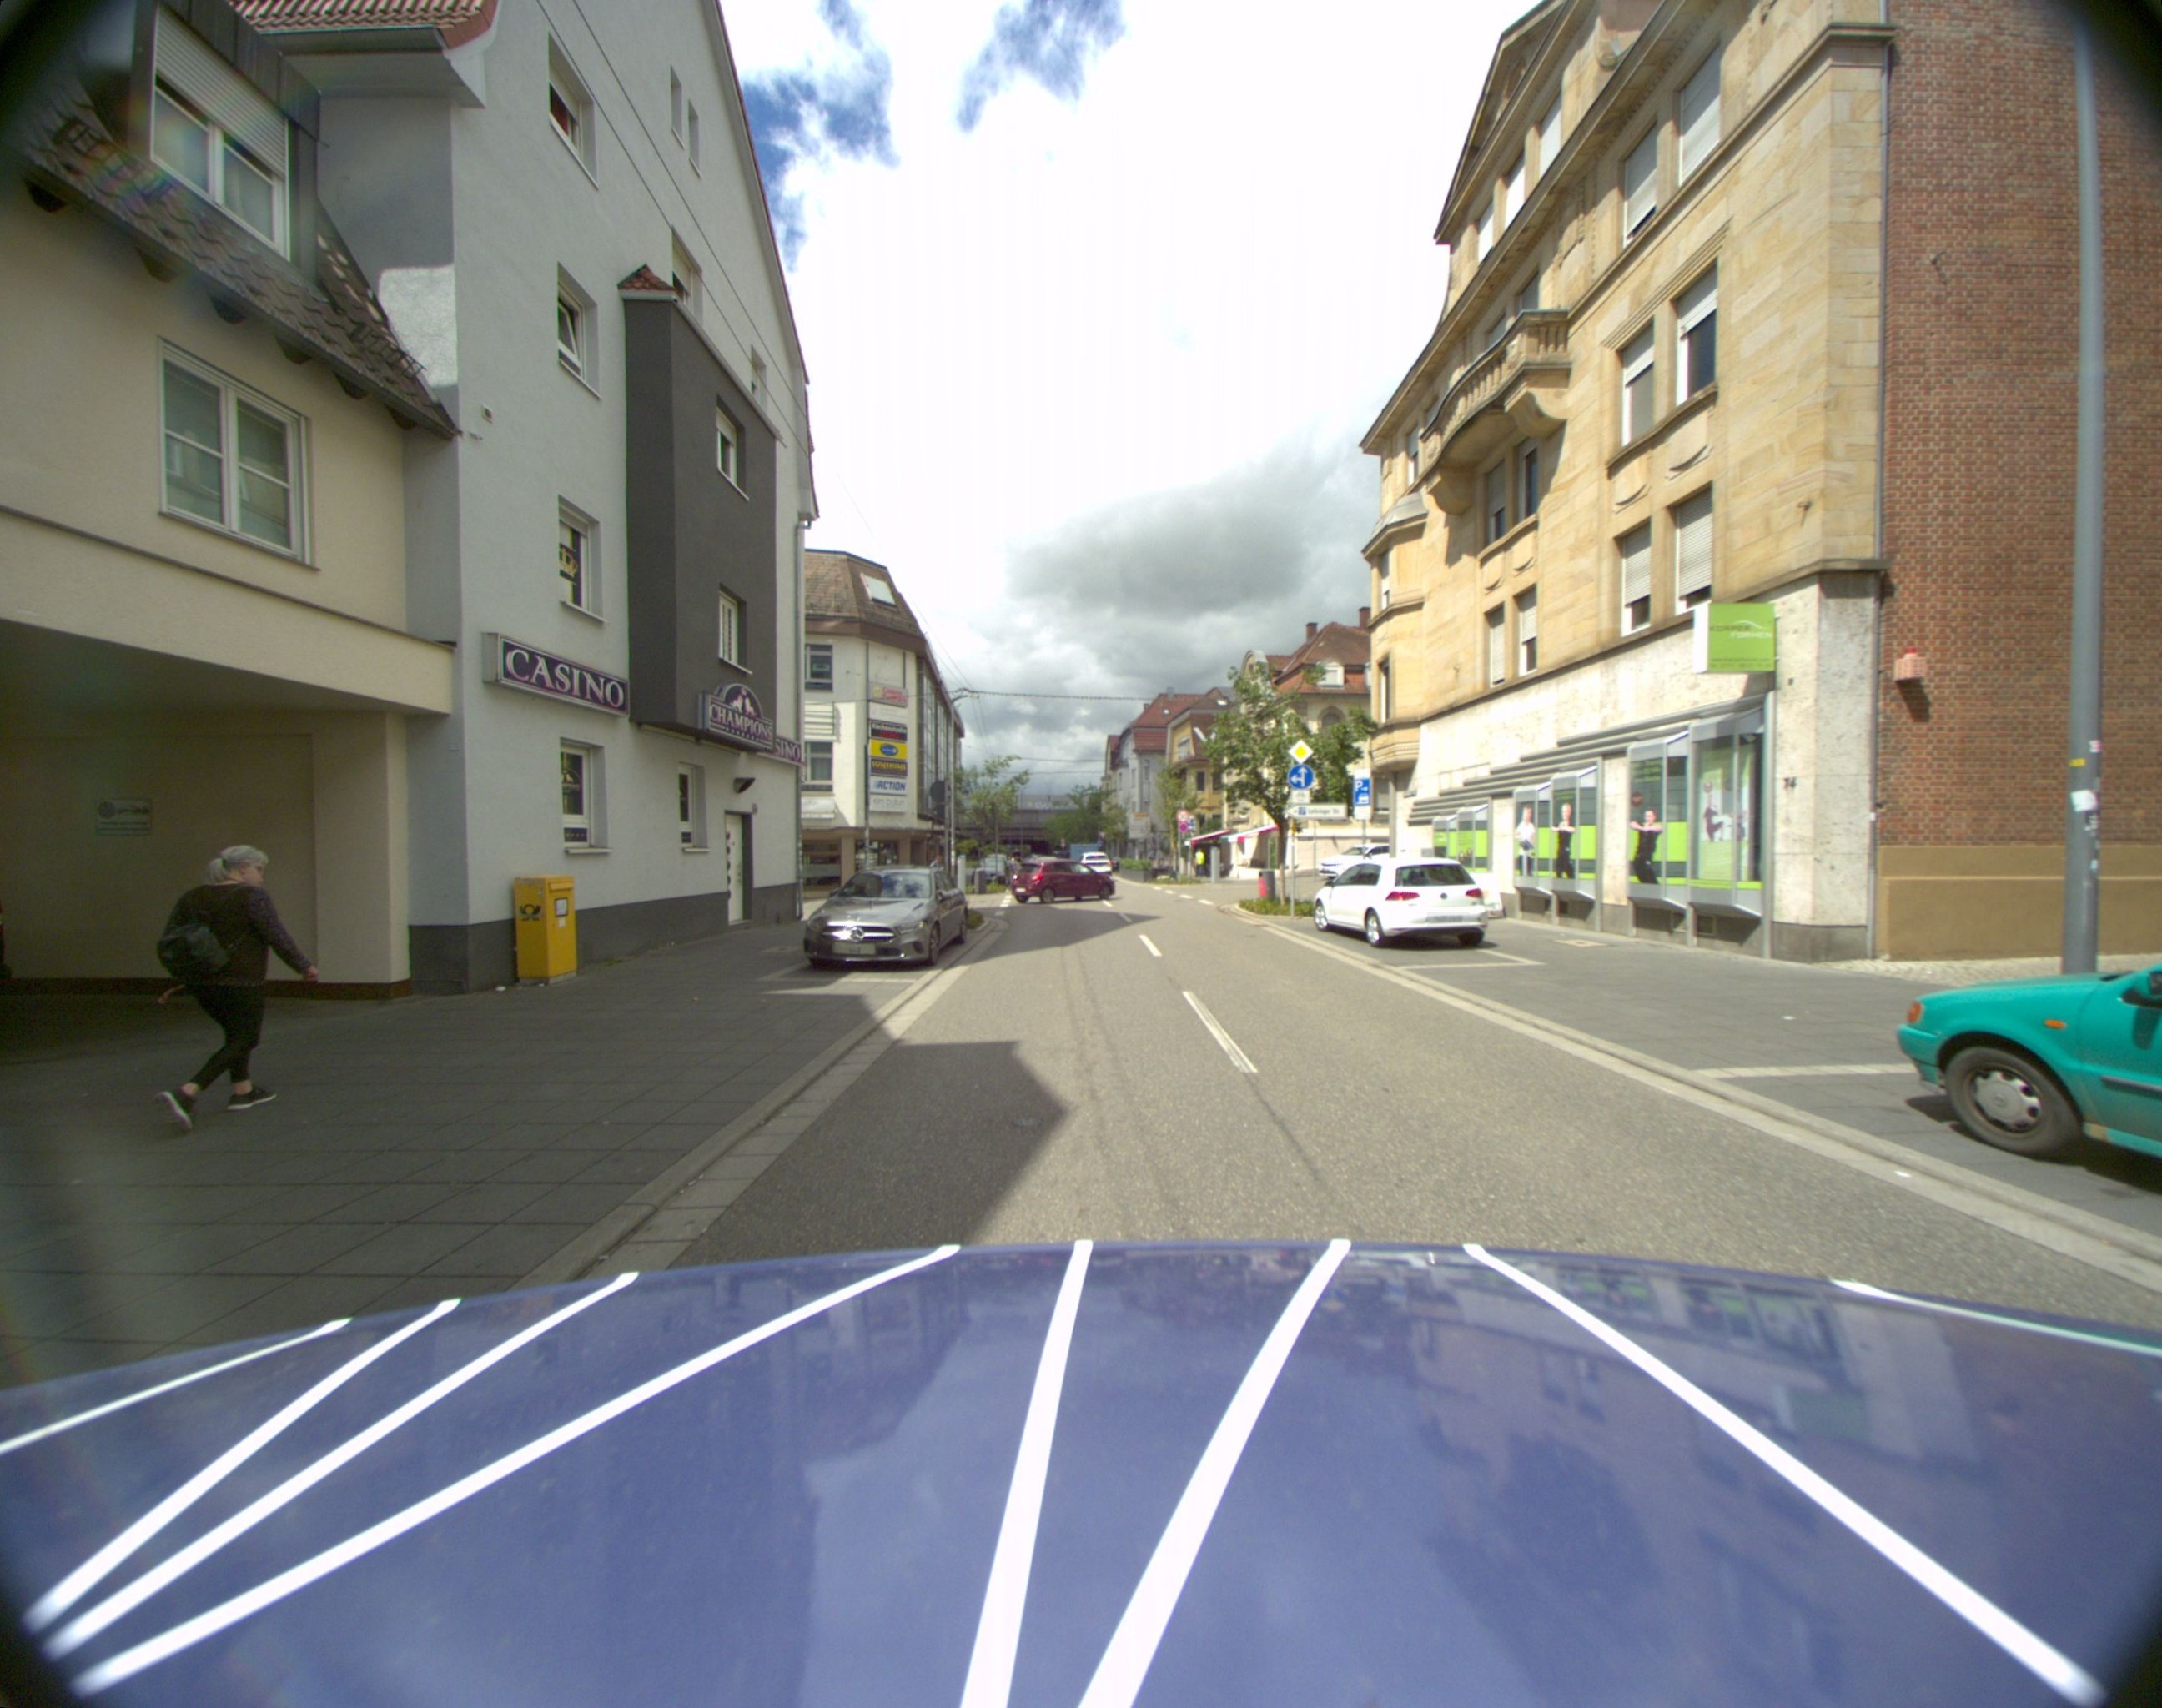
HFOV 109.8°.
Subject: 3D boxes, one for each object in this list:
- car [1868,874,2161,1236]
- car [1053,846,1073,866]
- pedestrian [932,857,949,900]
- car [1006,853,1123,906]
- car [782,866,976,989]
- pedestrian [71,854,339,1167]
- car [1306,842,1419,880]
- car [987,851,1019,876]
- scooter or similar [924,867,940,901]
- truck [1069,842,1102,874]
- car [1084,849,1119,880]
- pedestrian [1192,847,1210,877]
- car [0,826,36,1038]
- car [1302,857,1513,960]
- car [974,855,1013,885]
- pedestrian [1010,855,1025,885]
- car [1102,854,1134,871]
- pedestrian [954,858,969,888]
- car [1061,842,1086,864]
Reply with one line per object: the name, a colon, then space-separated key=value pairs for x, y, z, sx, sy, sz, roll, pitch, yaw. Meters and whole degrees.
car: x=5.296 y=0.888 z=2.552 sx=1.589 sy=1.406 sz=3.668 roll=-2 pitch=1 yaw=2
car: x=-1.884 y=0.256 z=76.888 sx=1.877 sy=1.921 sz=5.175 roll=-1 pitch=0 yaw=-3
pedestrian: x=-5.688 y=0.983 z=30.732 sx=0.572 sy=1.693 sz=0.481 roll=-2 pitch=2 yaw=-7
car: x=-0.521 y=0.825 z=26.077 sx=3.765 sy=1.521 sz=1.533 roll=-3 pitch=2 yaw=-36
car: x=-2.964 y=1.011 z=12.174 sx=1.711 sy=1.412 sz=4.318 roll=-2 pitch=1 yaw=3
pedestrian: x=-5.134 y=0.862 z=4.507 sx=0.745 sy=1.708 sz=0.655 roll=-1 pitch=2 yaw=-1
car: x=12.460 y=0.281 z=33.622 sx=4.391 sy=1.373 sz=1.996 roll=-3 pitch=2 yaw=-20
car: x=-5.409 y=0.615 z=53.382 sx=1.825 sy=1.652 sz=4.465 roll=1 pitch=0 yaw=-1
scooter or similar: x=-5.952 y=1.176 z=30.471 sx=0.432 sy=1.273 sz=1.248 roll=-2 pitch=1 yaw=-5
truck: x=0.273 y=0.229 z=58.706 sx=2.112 sy=2.292 sz=6.472 roll=-2 pitch=1 yaw=-3
car: x=1.162 y=0.598 z=44.709 sx=1.792 sy=1.630 sz=4.114 roll=-2 pitch=1 yaw=-1
pedestrian: x=7.141 y=0.466 z=45.369 sx=0.801 sy=1.746 sz=0.812 roll=-2 pitch=2 yaw=-8
car: x=-11.963 y=0.656 z=6.146 sx=4.358 sy=1.921 sz=1.954 roll=2 pitch=1 yaw=1
car: x=5.560 y=0.835 z=13.556 sx=1.851 sy=1.390 sz=4.035 roll=-2 pitch=1 yaw=-3
car: x=-4.596 y=0.804 z=40.223 sx=1.720 sy=1.445 sz=4.550 roll=-1 pitch=0 yaw=-3
pedestrian: x=-3.451 y=0.890 z=41.268 sx=0.584 sy=1.591 sz=0.549 roll=-2 pitch=2 yaw=17
car: x=3.052 y=0.701 z=63.529 sx=1.723 sy=1.296 sz=4.463 roll=-1 pitch=0 yaw=-9
pedestrian: x=-6.412 y=1.026 z=40.687 sx=0.661 sy=1.553 sz=0.477 roll=-2 pitch=2 yaw=-3
car: x=-1.084 y=-0.209 z=99.912 sx=2.310 sy=2.657 sz=7.263 roll=-2 pitch=1 yaw=-8
